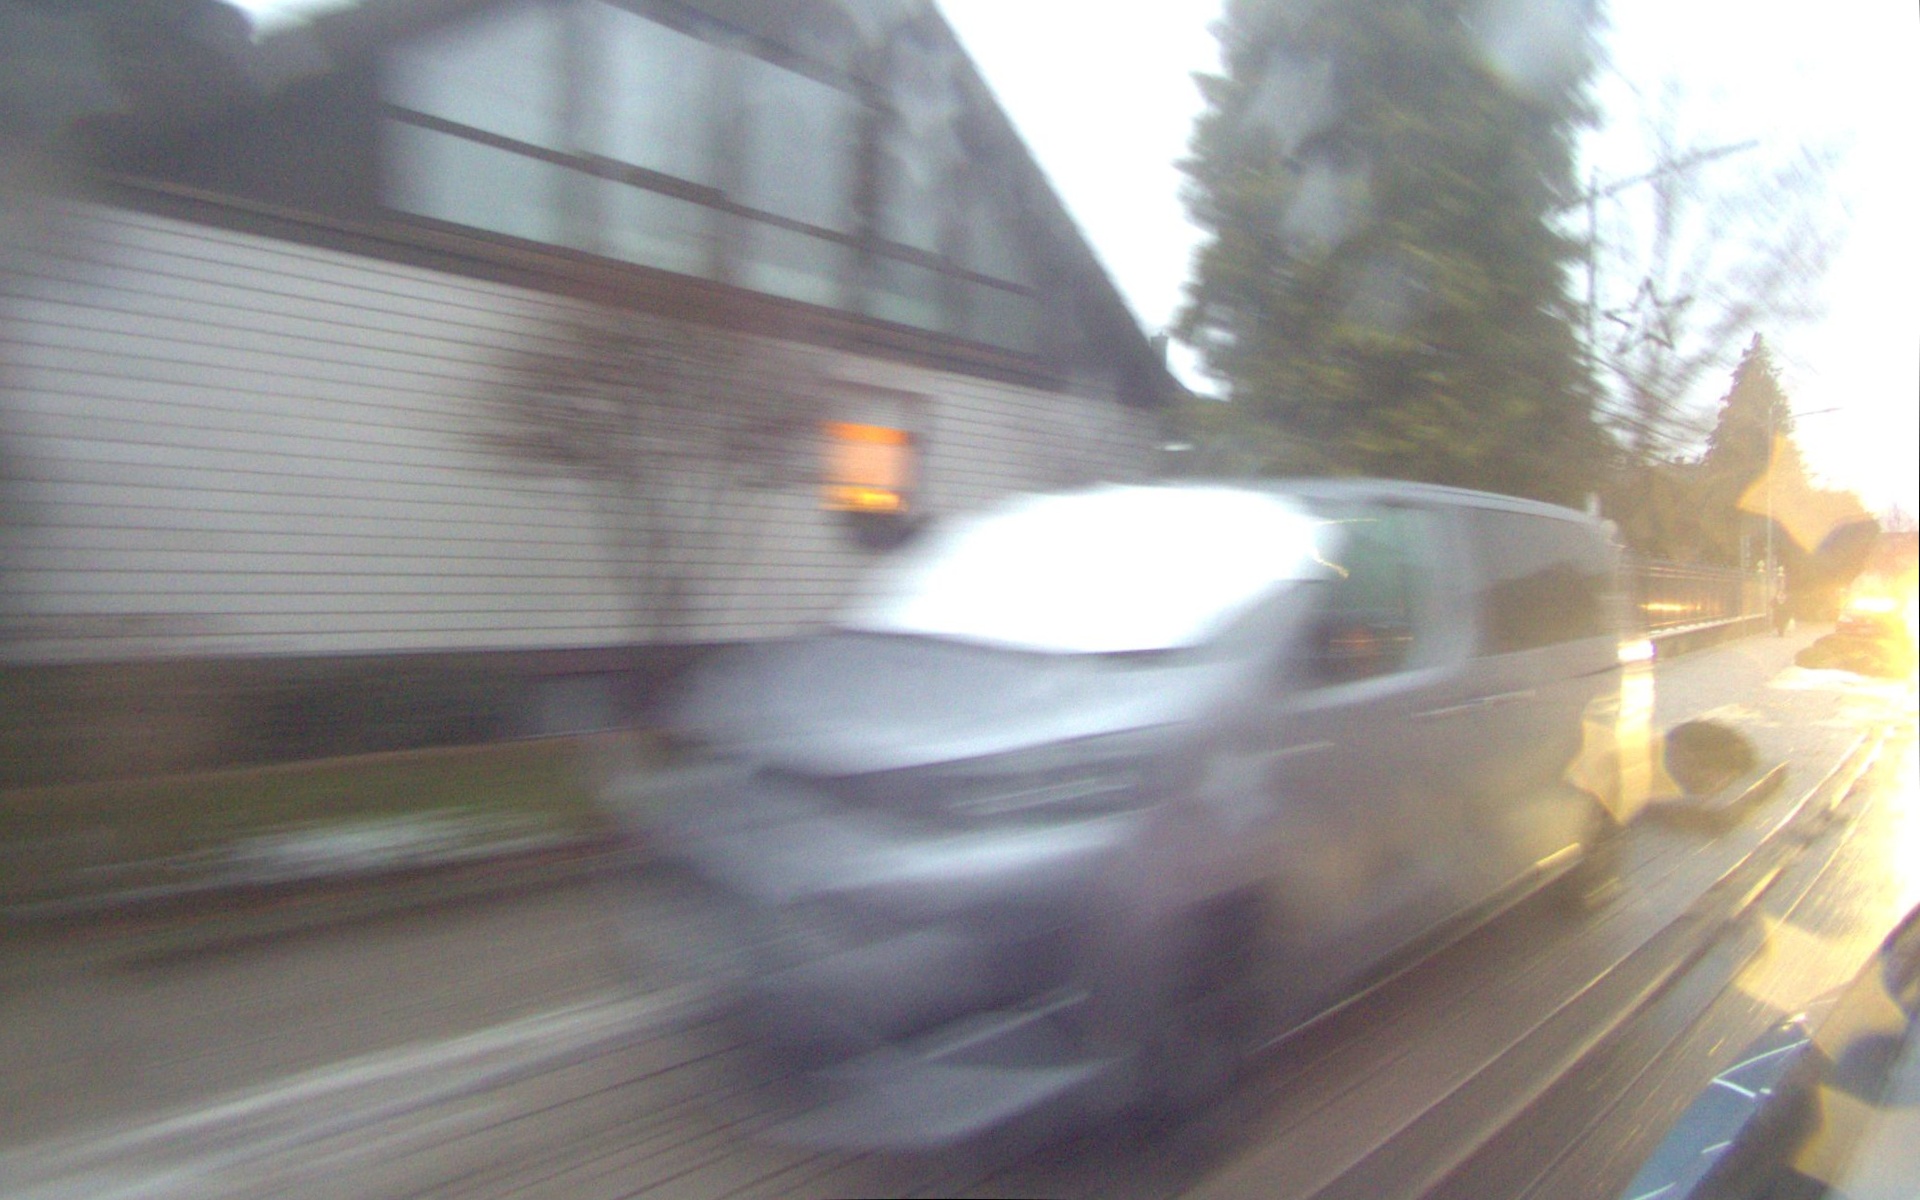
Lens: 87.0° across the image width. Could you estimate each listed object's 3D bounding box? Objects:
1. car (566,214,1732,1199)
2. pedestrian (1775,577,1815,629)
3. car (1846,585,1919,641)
[{"bbox_3d":[1.493,0.318,4.397,5.648,2.038,1.980,0,2,-43],"label":"car"},{"bbox_3d":[28.779,0.090,34.871,0.987,1.763,1.040,2,1,43],"label":"pedestrian"},{"bbox_3d":[28.855,0.367,31.510,1.650,1.558,3.336,5,3,44],"label":"car"}]
